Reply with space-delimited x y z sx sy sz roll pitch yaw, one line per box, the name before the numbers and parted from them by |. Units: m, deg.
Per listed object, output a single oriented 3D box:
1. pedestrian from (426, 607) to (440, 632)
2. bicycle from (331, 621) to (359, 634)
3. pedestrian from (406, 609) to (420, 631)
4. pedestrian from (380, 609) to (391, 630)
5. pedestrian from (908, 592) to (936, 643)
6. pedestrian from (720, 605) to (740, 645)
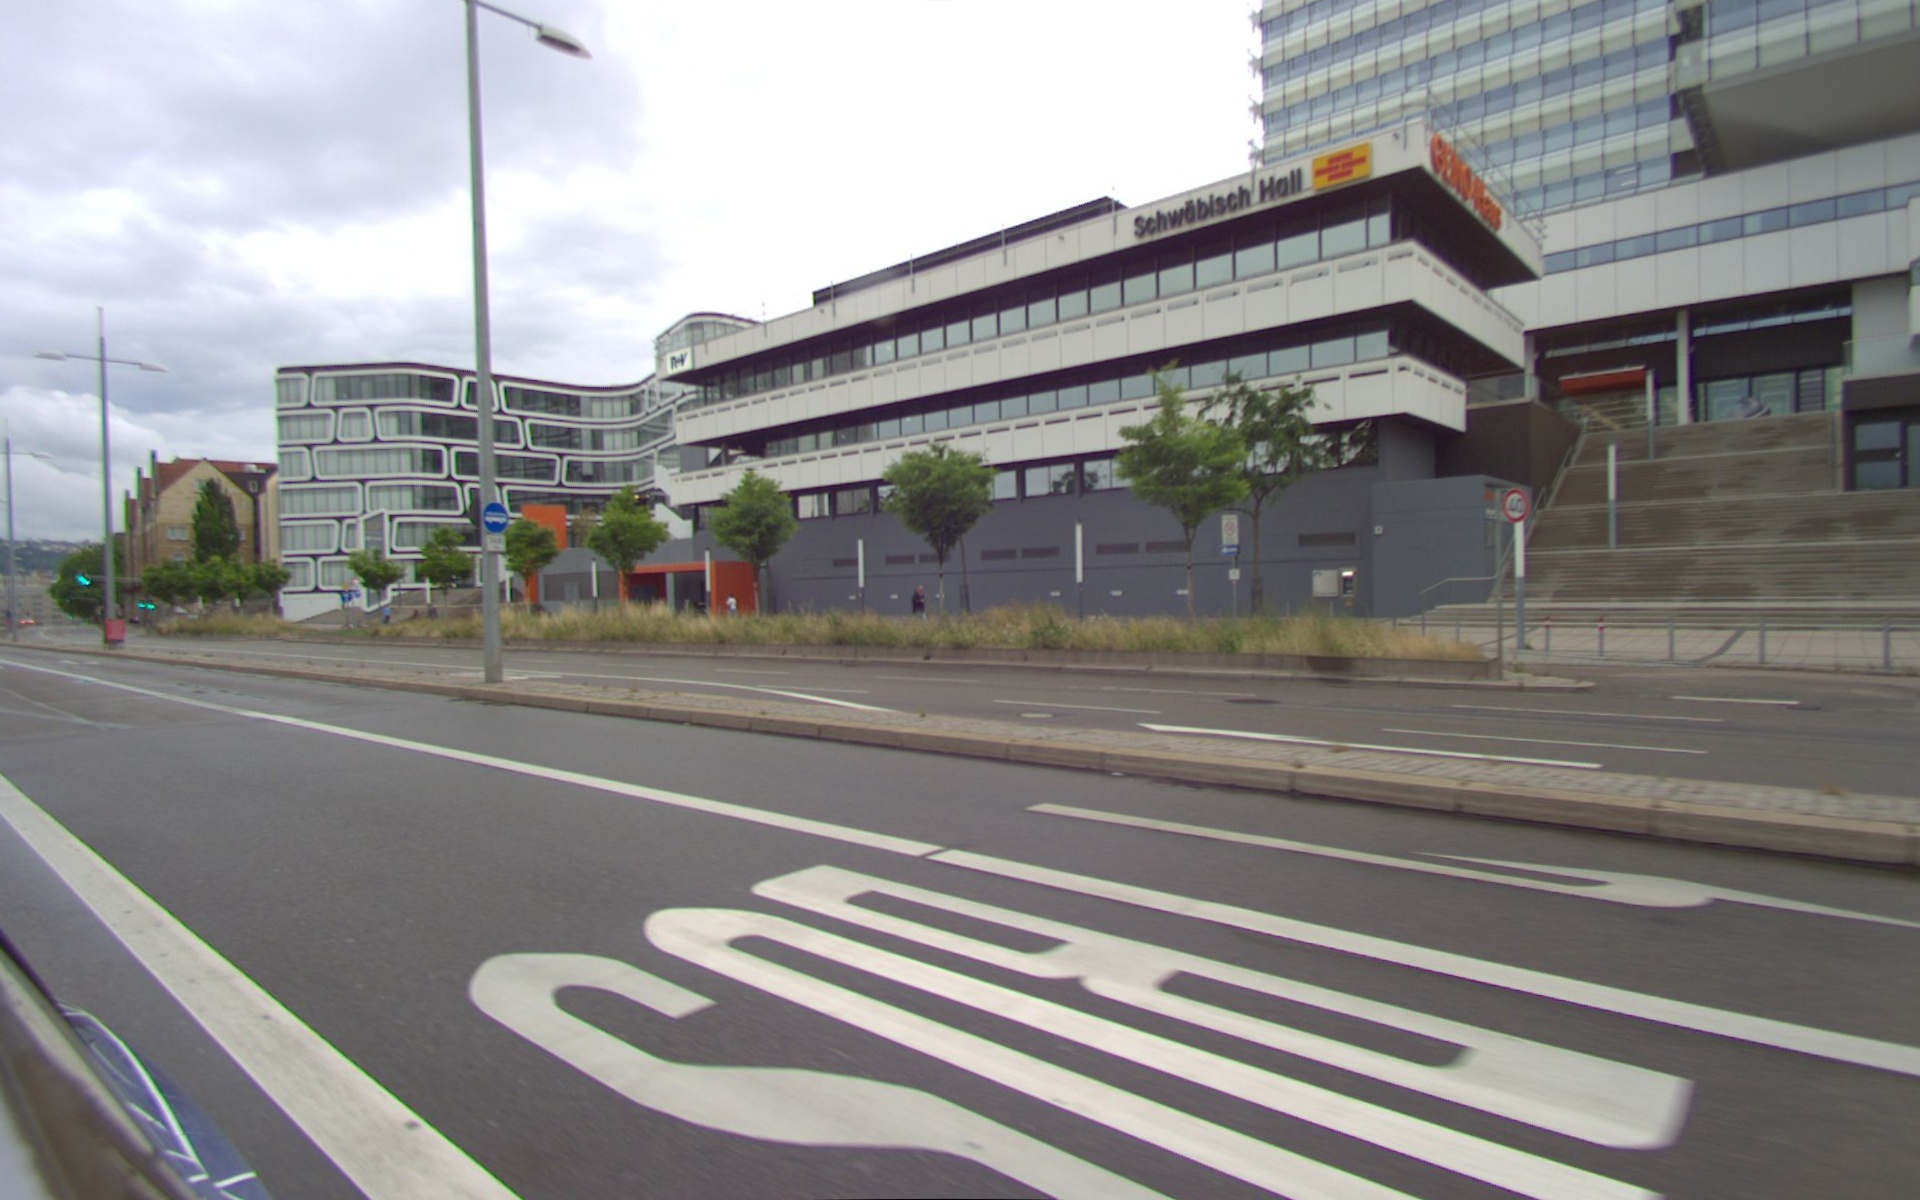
pedestrian | -36.398 1.337 69.934 0.798 1.670 0.611 0 -1 43
bicycle | -41.845 1.863 68.816 1.638 0.864 0.608 0 0 9
pedestrian | -37.231 1.369 68.931 0.798 1.457 0.611 0 0 43
pedestrian | -46.131 1.559 81.245 0.603 1.623 0.640 -2 2 -45
pedestrian | -1.354 0.621 36.259 0.628 1.821 0.776 0 0 42
pedestrian | -10.509 1.126 46.183 0.628 1.821 0.623 0 0 42
